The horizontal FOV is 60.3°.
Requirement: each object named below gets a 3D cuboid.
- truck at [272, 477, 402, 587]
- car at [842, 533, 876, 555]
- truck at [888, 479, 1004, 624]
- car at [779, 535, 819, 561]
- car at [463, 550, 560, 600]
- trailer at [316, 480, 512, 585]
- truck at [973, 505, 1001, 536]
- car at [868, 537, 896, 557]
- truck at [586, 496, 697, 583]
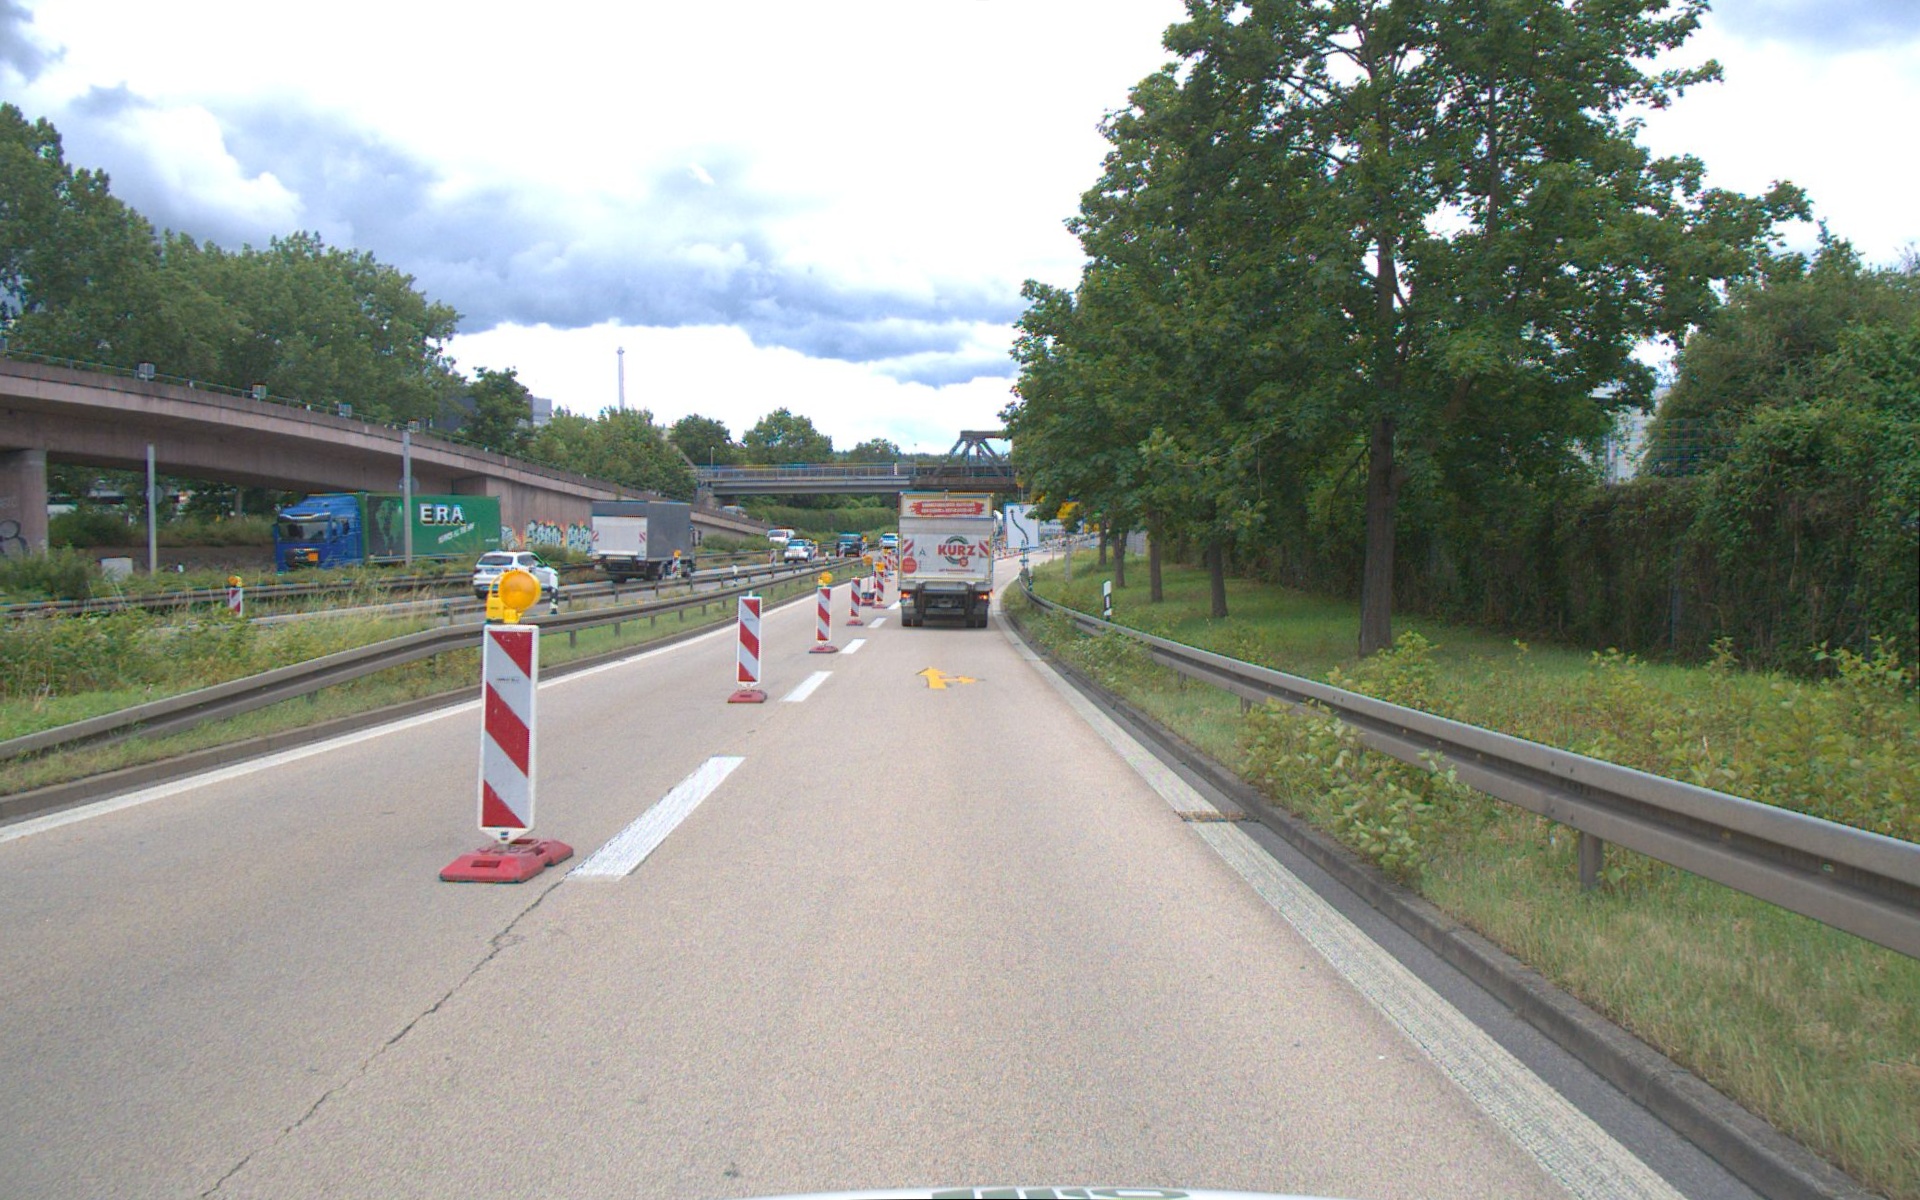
[{"bbox_3d":[-25.555,-2.776,68.100,2.694,4.346,5.508,0,2,8],"label":"truck"},{"bbox_3d":[-7.498,-4.158,123.050,1.951,1.646,4.003,0,2,4],"label":"car"},{"bbox_3d":[-0.380,-1.308,46.721,2.988,3.737,7.927,0,1,0],"label":"truck"},{"bbox_3d":[-10.497,-3.402,108.073,1.951,1.646,4.003,0,2,4],"label":"car"},{"bbox_3d":[-16.353,-0.943,60.558,1.951,1.742,4.105,1,2,8],"label":"car"},{"bbox_3d":[-24.563,-3.041,75.612,2.712,4.368,13.993,0,2,7],"label":"trailer"},{"bbox_3d":[3.469,-10.117,210.933,3.217,3.919,7.670,0,2,4],"label":"truck"},{"bbox_3d":[-6.603,-4.511,140.283,1.951,1.646,4.003,0,2,4],"label":"car"},{"bbox_3d":[-14.251,-2.733,74.633,2.986,3.719,7.401,0,2,5],"label":"truck"}]
